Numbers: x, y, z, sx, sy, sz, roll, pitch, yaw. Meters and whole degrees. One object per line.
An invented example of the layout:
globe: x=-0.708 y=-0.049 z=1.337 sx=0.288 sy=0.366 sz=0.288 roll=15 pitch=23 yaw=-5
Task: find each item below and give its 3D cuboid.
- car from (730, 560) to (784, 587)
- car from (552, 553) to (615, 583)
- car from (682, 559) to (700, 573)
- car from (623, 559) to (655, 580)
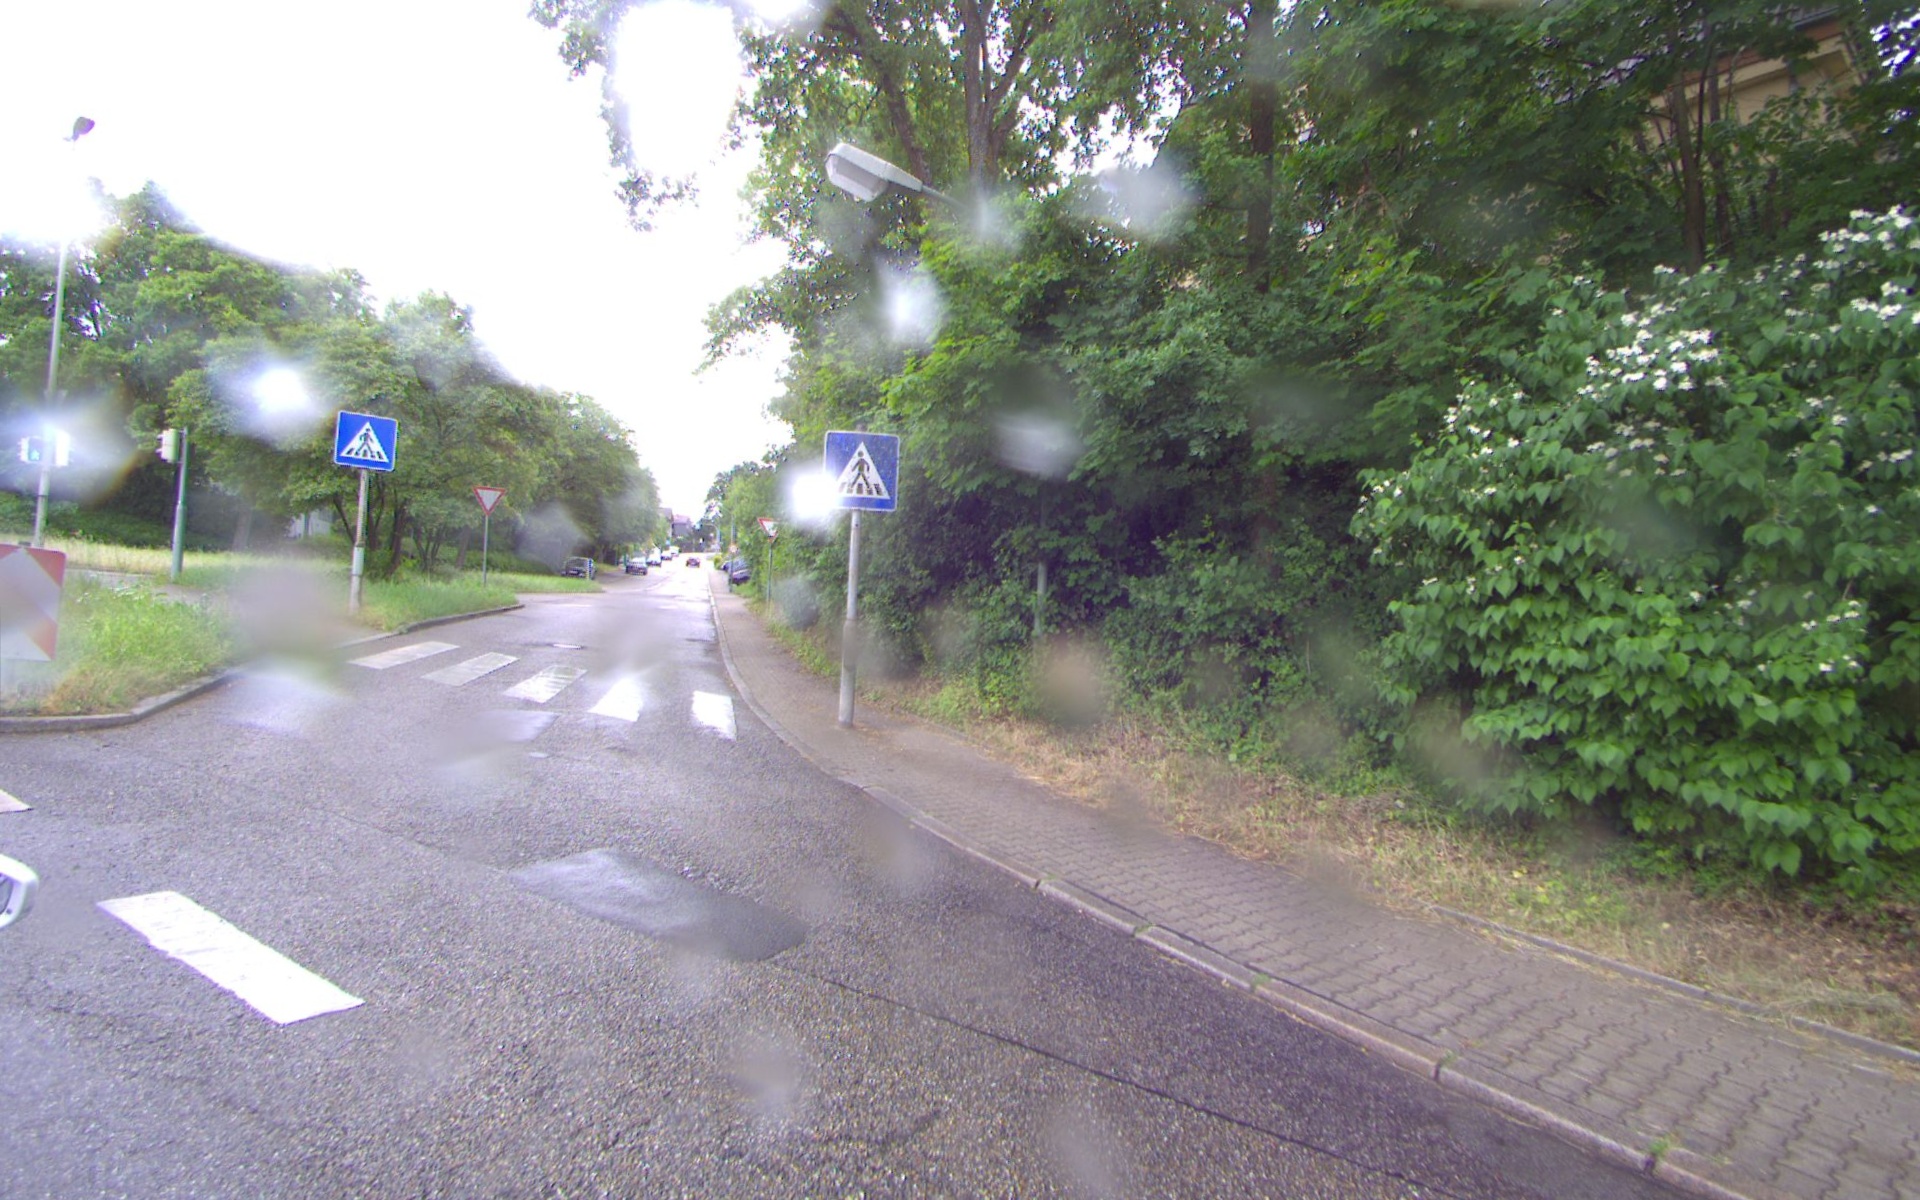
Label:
car: x=-16.063 y=-2.072 z=79.614 sx=3.937 sy=1.668 sz=1.951 roll=7 pitch=0 yaw=-15
car: x=-25.147 y=-2.133 z=67.286 sx=1.793 sy=1.590 sz=4.001 roll=7 pitch=0 yaw=15
car: x=-36.009 y=-4.537 z=134.618 sx=1.918 sy=1.474 sz=4.200 roll=8 pitch=-2 yaw=-19
car: x=-29.917 y=-2.832 z=93.754 sx=1.672 sy=1.462 sz=4.002 roll=7 pitch=-2 yaw=-2
